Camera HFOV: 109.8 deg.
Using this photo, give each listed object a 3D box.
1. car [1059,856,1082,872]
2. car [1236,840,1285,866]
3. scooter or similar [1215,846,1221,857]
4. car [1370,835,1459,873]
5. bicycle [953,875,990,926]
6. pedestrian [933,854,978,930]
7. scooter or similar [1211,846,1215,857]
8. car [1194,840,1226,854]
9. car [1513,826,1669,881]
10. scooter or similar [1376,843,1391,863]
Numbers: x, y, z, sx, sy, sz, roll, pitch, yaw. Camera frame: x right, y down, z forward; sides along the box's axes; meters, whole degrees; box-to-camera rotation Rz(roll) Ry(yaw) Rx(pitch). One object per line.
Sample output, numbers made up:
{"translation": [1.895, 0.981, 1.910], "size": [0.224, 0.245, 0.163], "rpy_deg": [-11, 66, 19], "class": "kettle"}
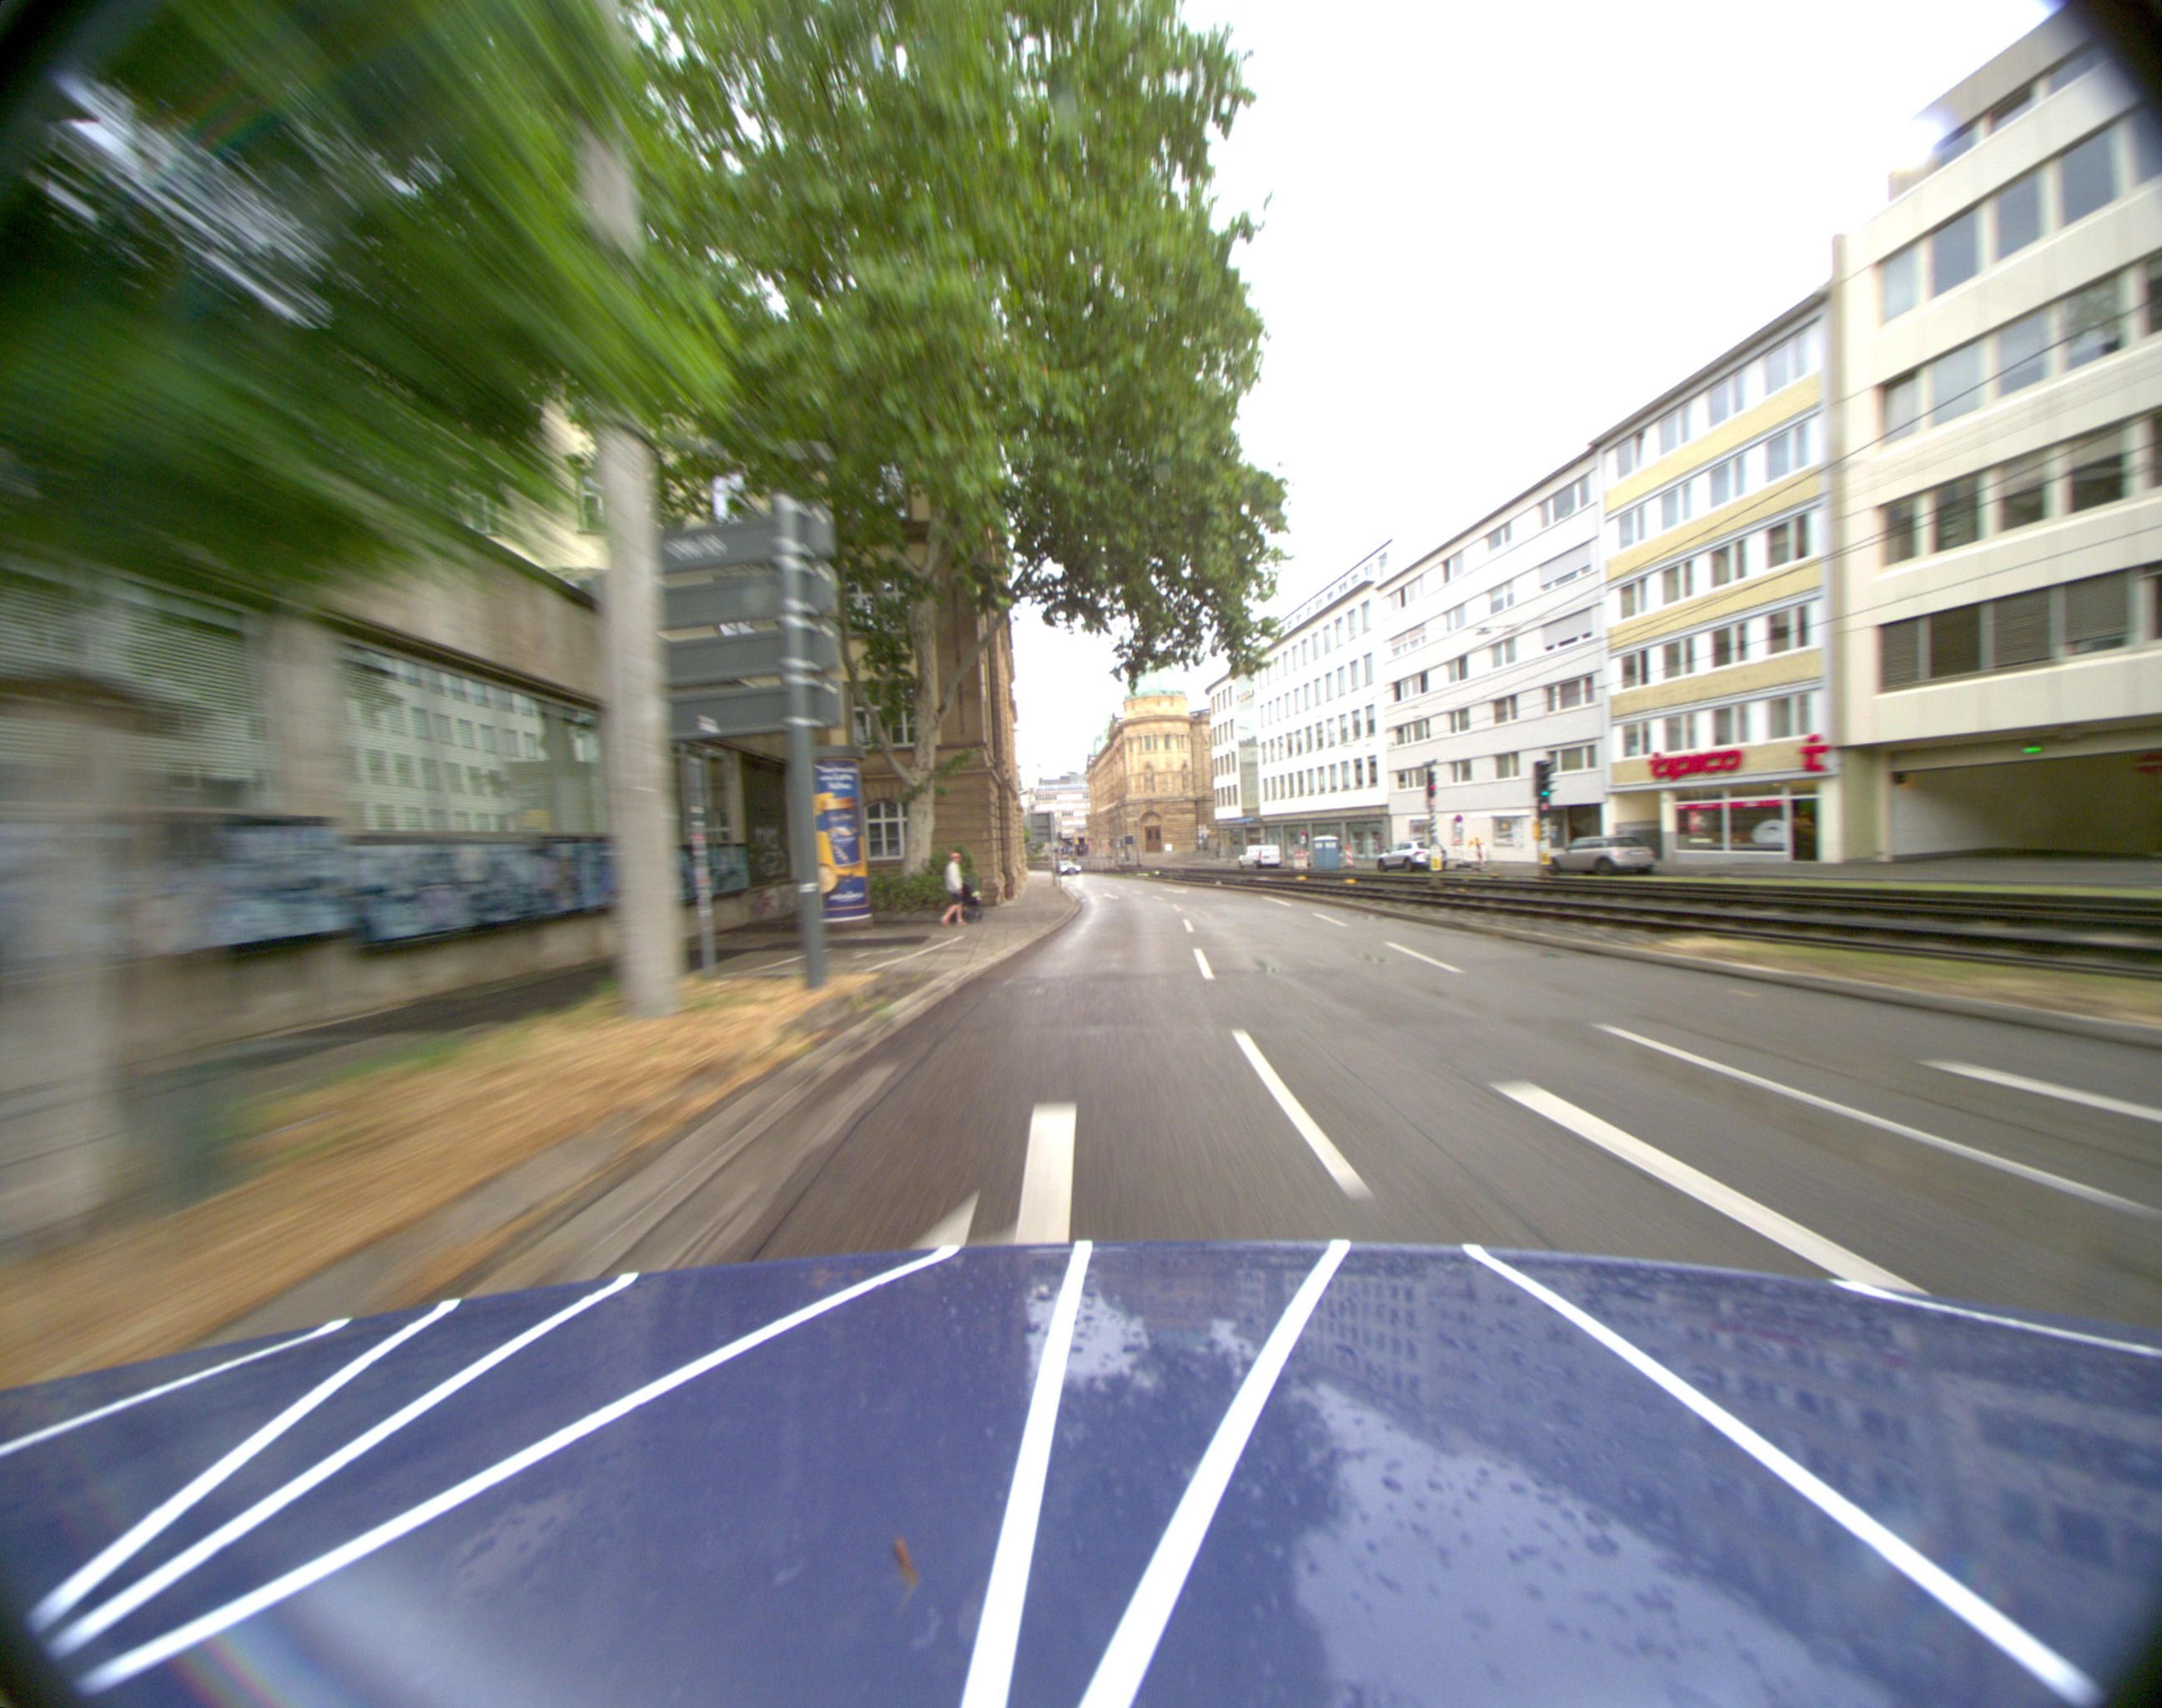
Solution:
{"translation": [-1.074, 1.010, 76.461], "size": [1.999, 1.458, 4.642], "rpy_deg": [-4, 0, -3], "class": "car"}
{"translation": [14.547, -0.113, 61.807], "size": [2.000, 1.832, 5.126], "rpy_deg": [-5, 2, -8], "class": "car"}
{"translation": [16.143, -0.326, 89.538], "size": [0.410, 1.194, 1.561], "rpy_deg": [-4, 2, 16], "class": "scooter or similar"}
{"translation": [17.049, 0.004, 39.158], "size": [1.999, 1.664, 4.693], "rpy_deg": [-5, 0, -6], "class": "car"}
{"translation": [-2.741, 1.148, 19.064], "size": [0.620, 1.213, 0.911], "rpy_deg": [-2, 0, 10], "class": "bicycle"}
{"translation": [-2.960, 0.872, 18.004], "size": [0.719, 1.732, 1.020], "rpy_deg": [-1, 0, 10], "class": "pedestrian"}
{"translation": [15.564, -0.259, 89.641], "size": [0.410, 1.194, 1.560], "rpy_deg": [-5, 2, 9], "class": "scooter or similar"}
{"translation": [16.568, -0.932, 97.342], "size": [1.780, 1.390, 4.333], "rpy_deg": [-3, 2, 44], "class": "car"}
{"translation": [18.429, -0.065, 27.779], "size": [2.000, 1.664, 4.690], "rpy_deg": [-5, 2, -9], "class": "car"}
{"translation": [19.465, -0.075, 48.958], "size": [0.382, 1.196, 0.973], "rpy_deg": [-5, 2, -7], "class": "scooter or similar"}
